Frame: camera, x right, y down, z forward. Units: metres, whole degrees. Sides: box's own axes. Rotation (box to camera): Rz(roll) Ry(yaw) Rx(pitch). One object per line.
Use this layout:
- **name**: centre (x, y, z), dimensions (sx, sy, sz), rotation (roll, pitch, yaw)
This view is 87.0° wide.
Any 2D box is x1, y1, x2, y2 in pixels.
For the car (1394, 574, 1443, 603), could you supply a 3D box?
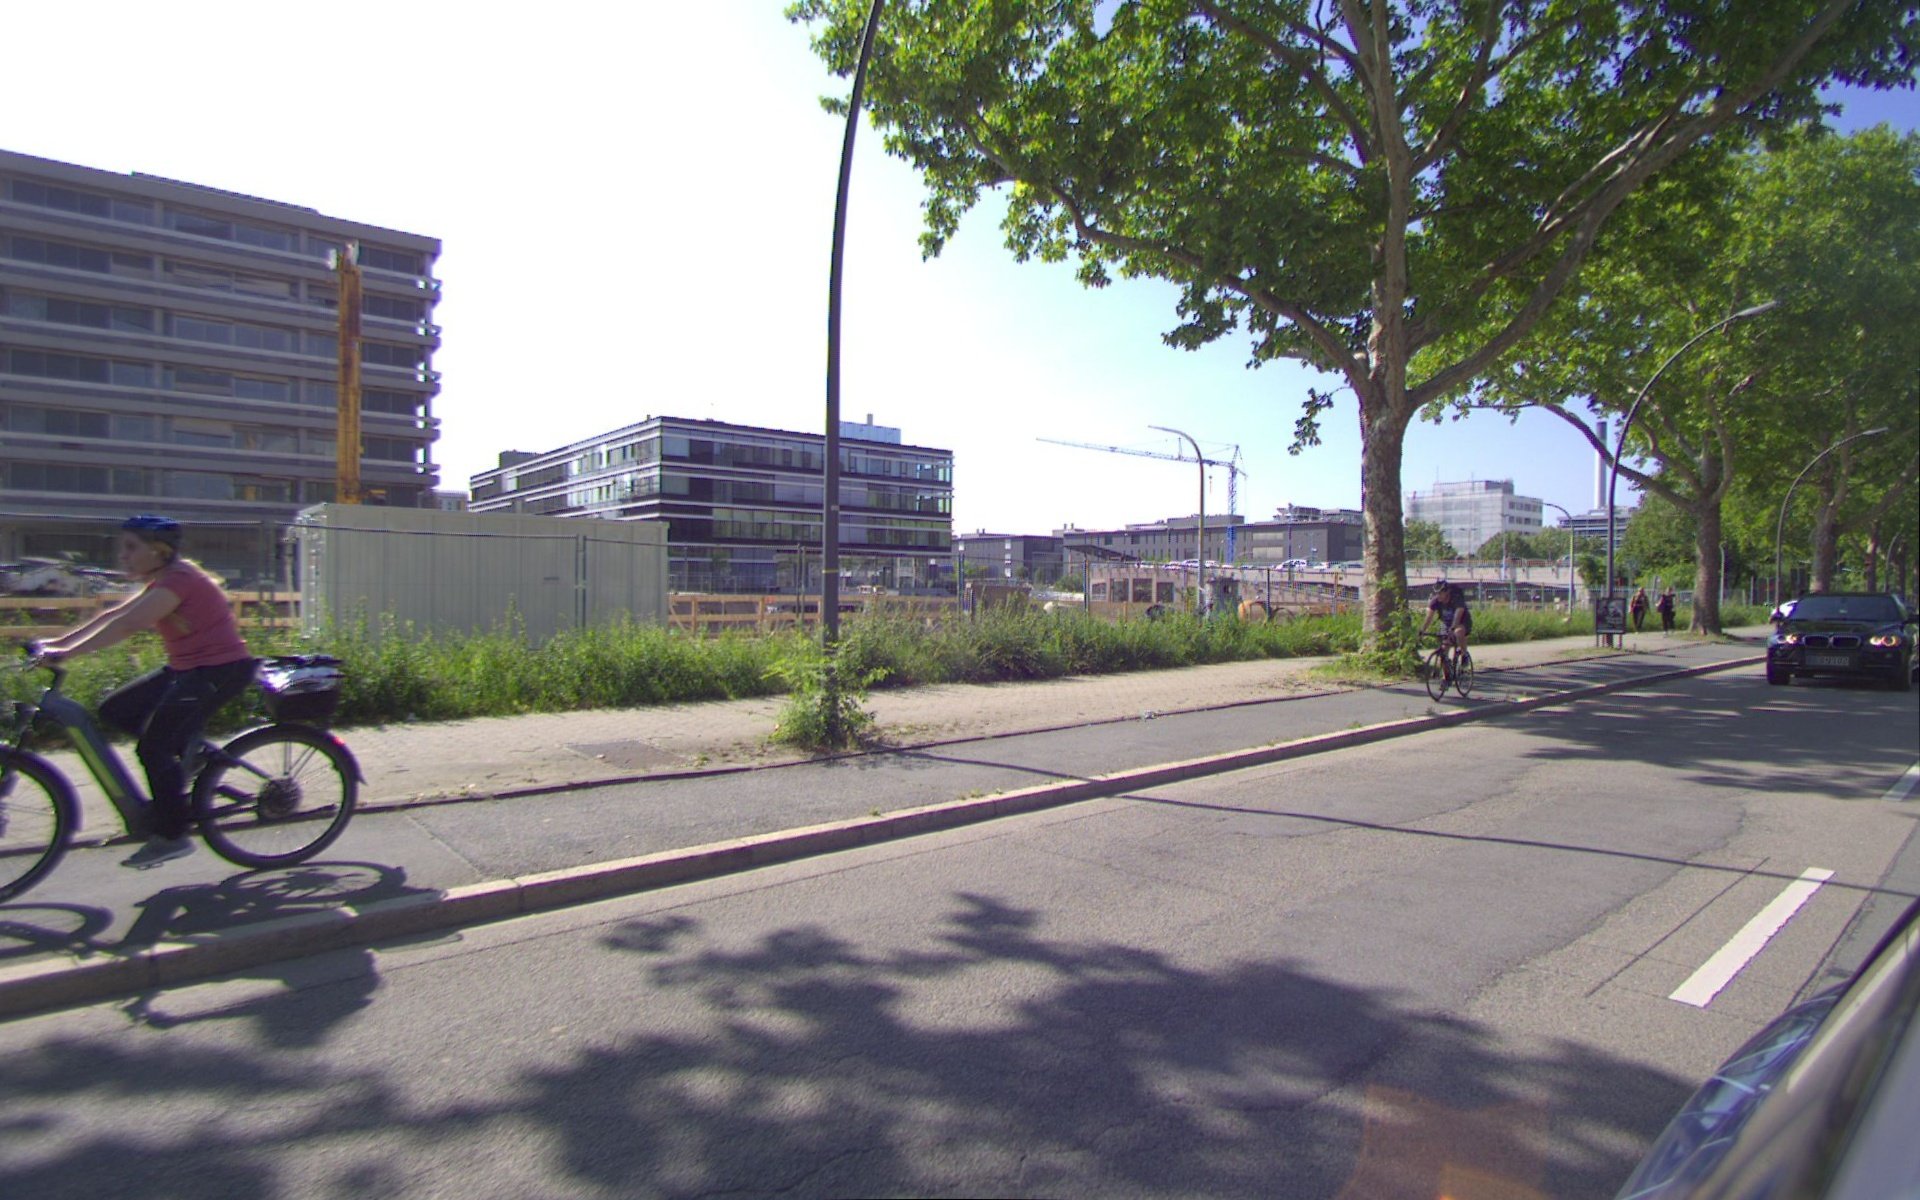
- **car**: centre (44.772, -1.081, 98.903), dimensions (1.779, 2.773, 3.990), rotation (0, 0, -44)

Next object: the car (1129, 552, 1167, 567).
- **car**: centre (21.429, -4.597, 115.317), dimensions (1.779, 1.528, 3.990), rotation (0, 1, -44)

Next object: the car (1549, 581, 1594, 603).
- **car**: centre (68.376, -0.919, 113.267), dimensions (1.779, 2.351, 3.990), rotation (0, 0, -44)

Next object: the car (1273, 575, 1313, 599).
- **car**: centre (38.119, -1.483, 115.942), dimensions (1.779, 2.773, 3.990), rotation (0, 0, -44)

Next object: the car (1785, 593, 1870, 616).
- **car**: centre (54.497, 0.256, 63.671), dimensions (1.860, 1.426, 4.001), rotation (0, 0, -1)

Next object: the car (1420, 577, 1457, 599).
- **car**: centre (61.722, -1.540, 130.642), dimensions (1.779, 2.773, 3.990), rotation (0, 0, -44)

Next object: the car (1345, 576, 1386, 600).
- **car**: centre (46.743, -1.415, 116.776), dimensions (1.779, 2.773, 3.990), rotation (0, 0, -44)

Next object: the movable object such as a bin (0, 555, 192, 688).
- **movable object such as a bin**: centre (-41.441, 0.816, 43.756), dimensions (11.557, 5.241, 6.754), rotation (0, 0, 2)

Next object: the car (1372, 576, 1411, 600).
- **car**: centre (51.733, -1.457, 121.416), dimensions (1.779, 2.773, 3.990), rotation (0, 0, -44)

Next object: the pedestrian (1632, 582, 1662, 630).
- **pedestrian**: centre (24.848, 0.212, 36.593), dimensions (0.943, 1.704, 0.696), rotation (0, 0, -43)

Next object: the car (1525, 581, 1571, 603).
- **car**: centre (63.244, -0.883, 108.846), dimensions (1.779, 2.351, 3.990), rotation (0, 0, -44)

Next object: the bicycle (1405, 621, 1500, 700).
- **bicycle**: centre (7.061, 0.836, 14.475), dimensions (1.751, 0.992, 0.598), rotation (0, 3, -43)

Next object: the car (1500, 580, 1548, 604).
- **car**: centre (57.582, -0.830, 103.317), dimensions (1.779, 2.351, 3.990), rotation (0, 0, -44)

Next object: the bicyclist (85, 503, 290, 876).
- **bicyclist**: centre (-3.706, 0.376, 4.853), dimensions (0.720, 1.619, 0.621), rotation (0, 2, -43)

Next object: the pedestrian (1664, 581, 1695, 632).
- **pedestrian**: centre (25.403, 0.225, 35.728), dimensions (1.048, 1.746, 0.710), rotation (0, 0, -43)

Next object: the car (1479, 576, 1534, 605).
- **car**: centre (53.584, -0.983, 99.297), dimensions (1.779, 2.773, 4.367), rotation (0, 0, -44)

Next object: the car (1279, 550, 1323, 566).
- **car**: centre (34.990, -4.252, 103.926), dimensions (1.779, 1.528, 3.990), rotation (0, 1, -44)

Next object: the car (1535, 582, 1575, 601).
- **car**: centre (74.440, -1.120, 126.548), dimensions (1.779, 2.351, 3.990), rotation (0, 0, -44)

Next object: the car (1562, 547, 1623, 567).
- **car**: centre (52.601, -3.557, 84.159), dimensions (1.779, 1.528, 3.990), rotation (0, 1, -44)

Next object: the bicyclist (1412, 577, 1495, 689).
- **bicyclist**: centre (7.049, 0.448, 14.436), dimensions (1.194, 1.507, 0.599), rotation (0, 3, -43)

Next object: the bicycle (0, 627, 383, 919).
- **bicycle**: centre (-3.857, 0.739, 4.745), dimensions (1.912, 1.143, 0.652), rotation (0, 2, -42)

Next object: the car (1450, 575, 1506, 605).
- **car**: centre (48.419, -0.944, 94.704), dimensions (1.779, 2.773, 4.367), rotation (0, 0, -44)

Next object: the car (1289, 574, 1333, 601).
- **car**: centre (37.091, -1.319, 107.045), dimensions (1.779, 2.773, 3.990), rotation (0, 0, -44)

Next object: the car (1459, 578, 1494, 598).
- **car**: centre (71.438, -1.628, 139.996), dimensions (1.779, 2.773, 3.990), rotation (0, 0, -44)

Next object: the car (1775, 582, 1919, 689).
- **car**: centre (16.676, 0.573, 18.667), dimensions (4.080, 1.752, 1.922), rotation (0, 0, -42)

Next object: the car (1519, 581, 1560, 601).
- **car**: centre (69.620, -1.071, 121.606), dimensions (1.779, 2.351, 3.990), rotation (0, 0, -44)

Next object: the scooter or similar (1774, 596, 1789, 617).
- **scooter or similar**: centre (46.501, 0.358, 57.278), dimensions (1.108, 1.136, 0.482), rotation (0, 0, -41)
